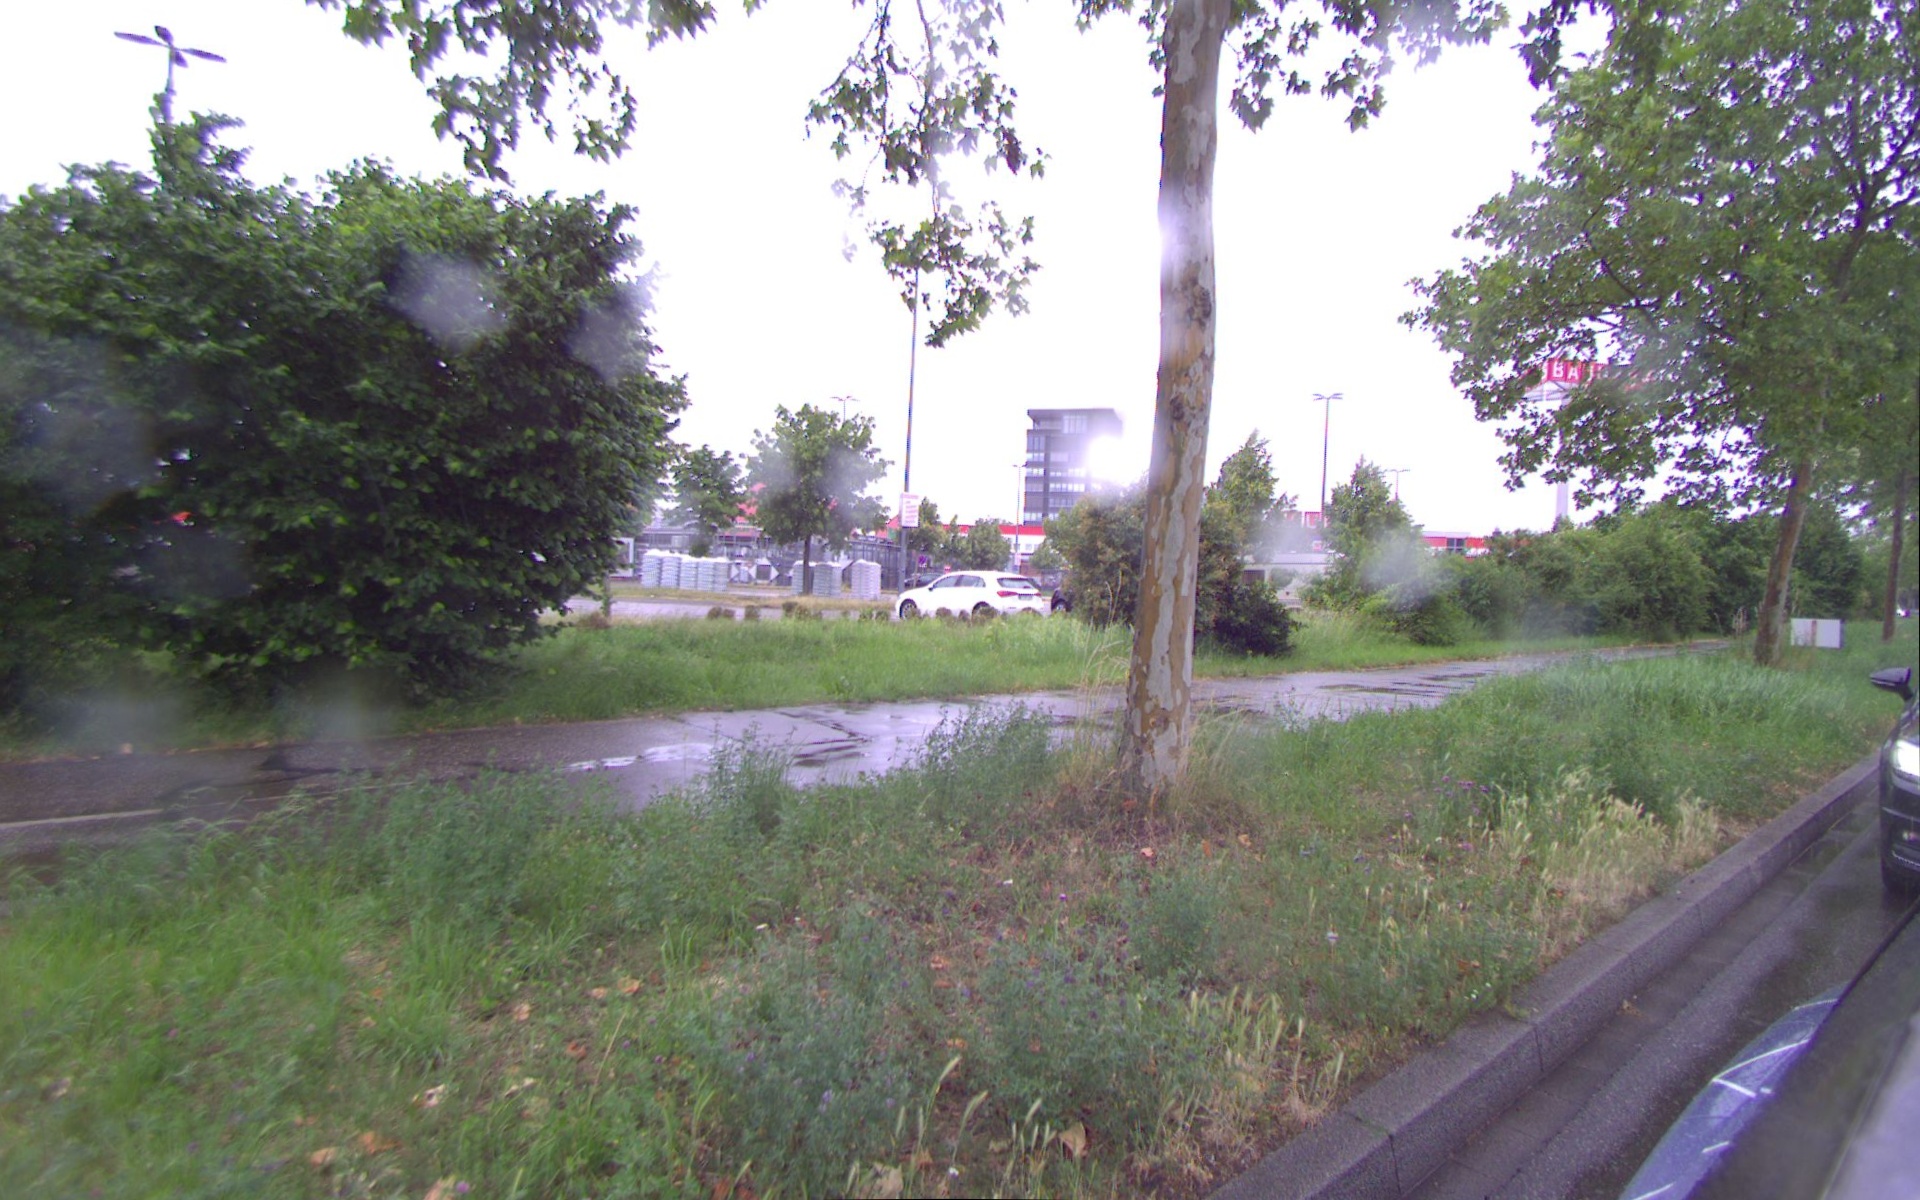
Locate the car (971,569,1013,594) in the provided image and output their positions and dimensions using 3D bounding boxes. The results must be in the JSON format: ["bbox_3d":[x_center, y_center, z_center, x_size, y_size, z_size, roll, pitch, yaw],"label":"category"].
[{"bbox_3d":[2.194,-1.297,68.191,1.903,1.571,4.254,2,2,15],"label":"car"}]

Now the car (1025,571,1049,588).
[{"bbox_3d":[8.507,-2.275,111.907,1.973,1.697,4.257,2,2,13],"label":"car"}]

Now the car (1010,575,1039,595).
[{"bbox_3d":[6.038,-1.438,94.731,1.973,1.697,4.255,2,2,14],"label":"car"}]

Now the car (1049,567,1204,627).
[{"bbox_3d":[4.934,-0.142,30.303,1.899,1.571,4.262,0,3,-45],"label":"car"}]

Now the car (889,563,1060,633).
[{"bbox_3d":[0.293,-0.101,25.948,1.899,1.571,4.262,0,3,-45],"label":"car"}]

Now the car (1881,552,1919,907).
[{"bbox_3d":[6.563,0.590,5.623,4.548,1.625,1.768,0,0,-43],"label":"car"}]

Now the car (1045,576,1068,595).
[{"bbox_3d":[9.536,-1.457,99.769,1.970,1.697,4.263,2,2,9],"label":"car"}]

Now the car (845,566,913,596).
[{"bbox_3d":[-4.839,-1.116,60.418,3.723,1.739,1.685,0,0,13],"label":"car"}]

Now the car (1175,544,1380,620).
[{"bbox_3d":[10.959,-0.692,35.292,6.399,2.392,2.357,3,2,41],"label":"car"}]

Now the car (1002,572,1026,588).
[{"bbox_3d":[6.013,-2.268,112.508,1.973,1.697,4.257,2,2,13],"label":"car"}]

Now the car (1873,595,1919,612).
[{"bbox_3d":[115.402,0.403,124.492,1.965,2.039,5.123,0,0,6],"label":"car"}]
